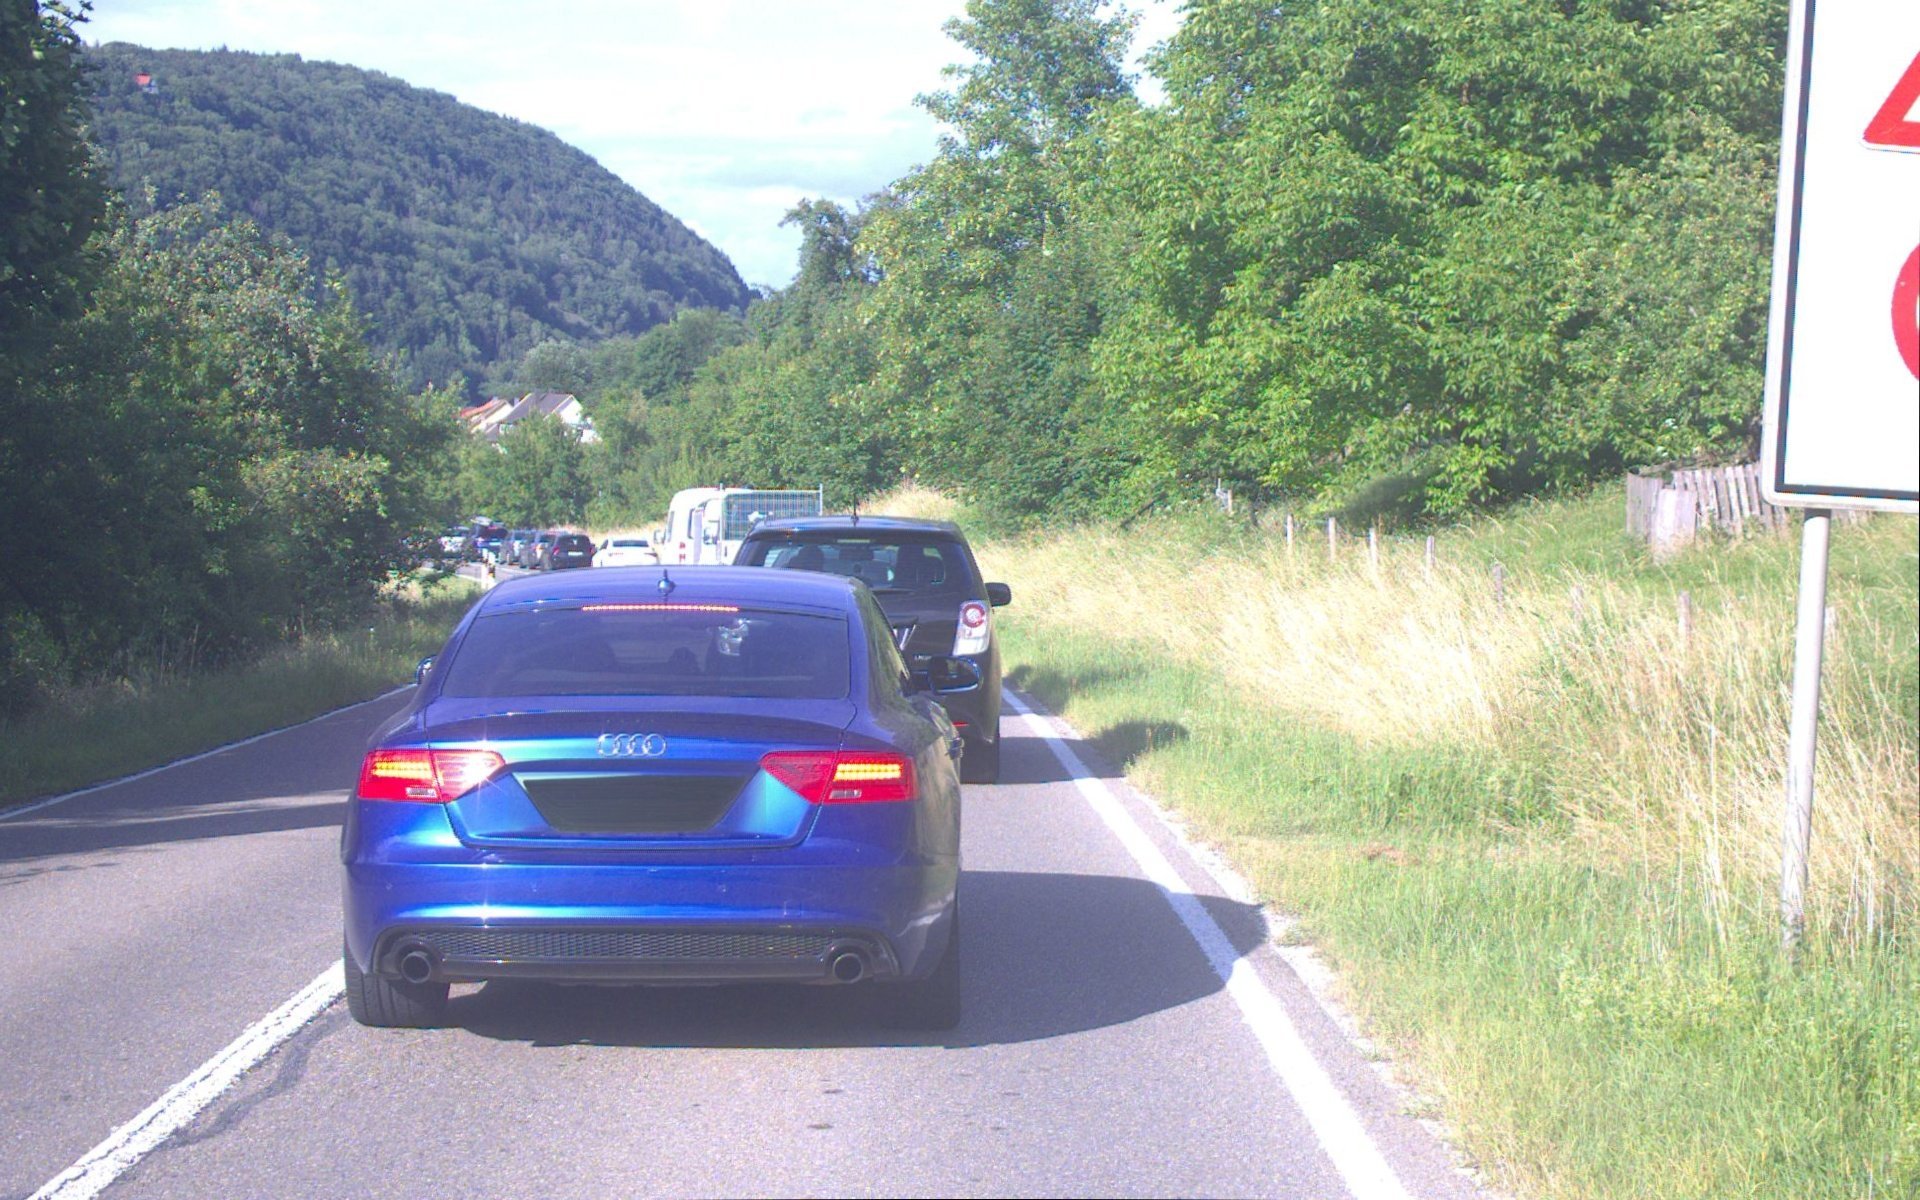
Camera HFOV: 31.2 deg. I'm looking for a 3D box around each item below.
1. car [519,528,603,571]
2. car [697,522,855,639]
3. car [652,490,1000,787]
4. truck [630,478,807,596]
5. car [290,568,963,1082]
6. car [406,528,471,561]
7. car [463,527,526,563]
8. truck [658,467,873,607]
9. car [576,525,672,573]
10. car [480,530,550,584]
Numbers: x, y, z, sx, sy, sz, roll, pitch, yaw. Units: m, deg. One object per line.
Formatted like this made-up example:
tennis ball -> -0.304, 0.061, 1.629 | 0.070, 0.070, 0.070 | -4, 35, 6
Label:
car -> -14.111, -1.780, 121.470 | 1.993, 1.477, 4.001 | 1, 1, -21
car -> -2.447, -0.275, 46.591 | 1.993, 1.477, 4.000 | 1, 1, -1
car -> -0.818, 0.200, 21.943 | 1.993, 1.696, 4.000 | 1, 1, -1
truck -> -6.050, -1.552, 84.289 | 2.863, 2.656, 10.648 | 1, 1, -12
car -> -0.908, 0.587, 11.255 | 1.793, 1.355, 4.000 | 1, 1, 0
car -> -24.038, -2.550, 158.322 | 1.993, 1.477, 4.001 | 1, 1, -23
car -> -19.779, -2.339, 145.962 | 1.993, 1.477, 4.001 | 1, 1, -17
truck -> -4.168, -1.310, 71.066 | 2.863, 2.656, 10.396 | 1, 1, -12
car -> -10.716, -1.635, 109.349 | 1.993, 1.477, 4.001 | 1, 1, -21
car -> -17.056, -1.633, 131.676 | 1.993, 2.007, 4.001 | 1, 1, -17
